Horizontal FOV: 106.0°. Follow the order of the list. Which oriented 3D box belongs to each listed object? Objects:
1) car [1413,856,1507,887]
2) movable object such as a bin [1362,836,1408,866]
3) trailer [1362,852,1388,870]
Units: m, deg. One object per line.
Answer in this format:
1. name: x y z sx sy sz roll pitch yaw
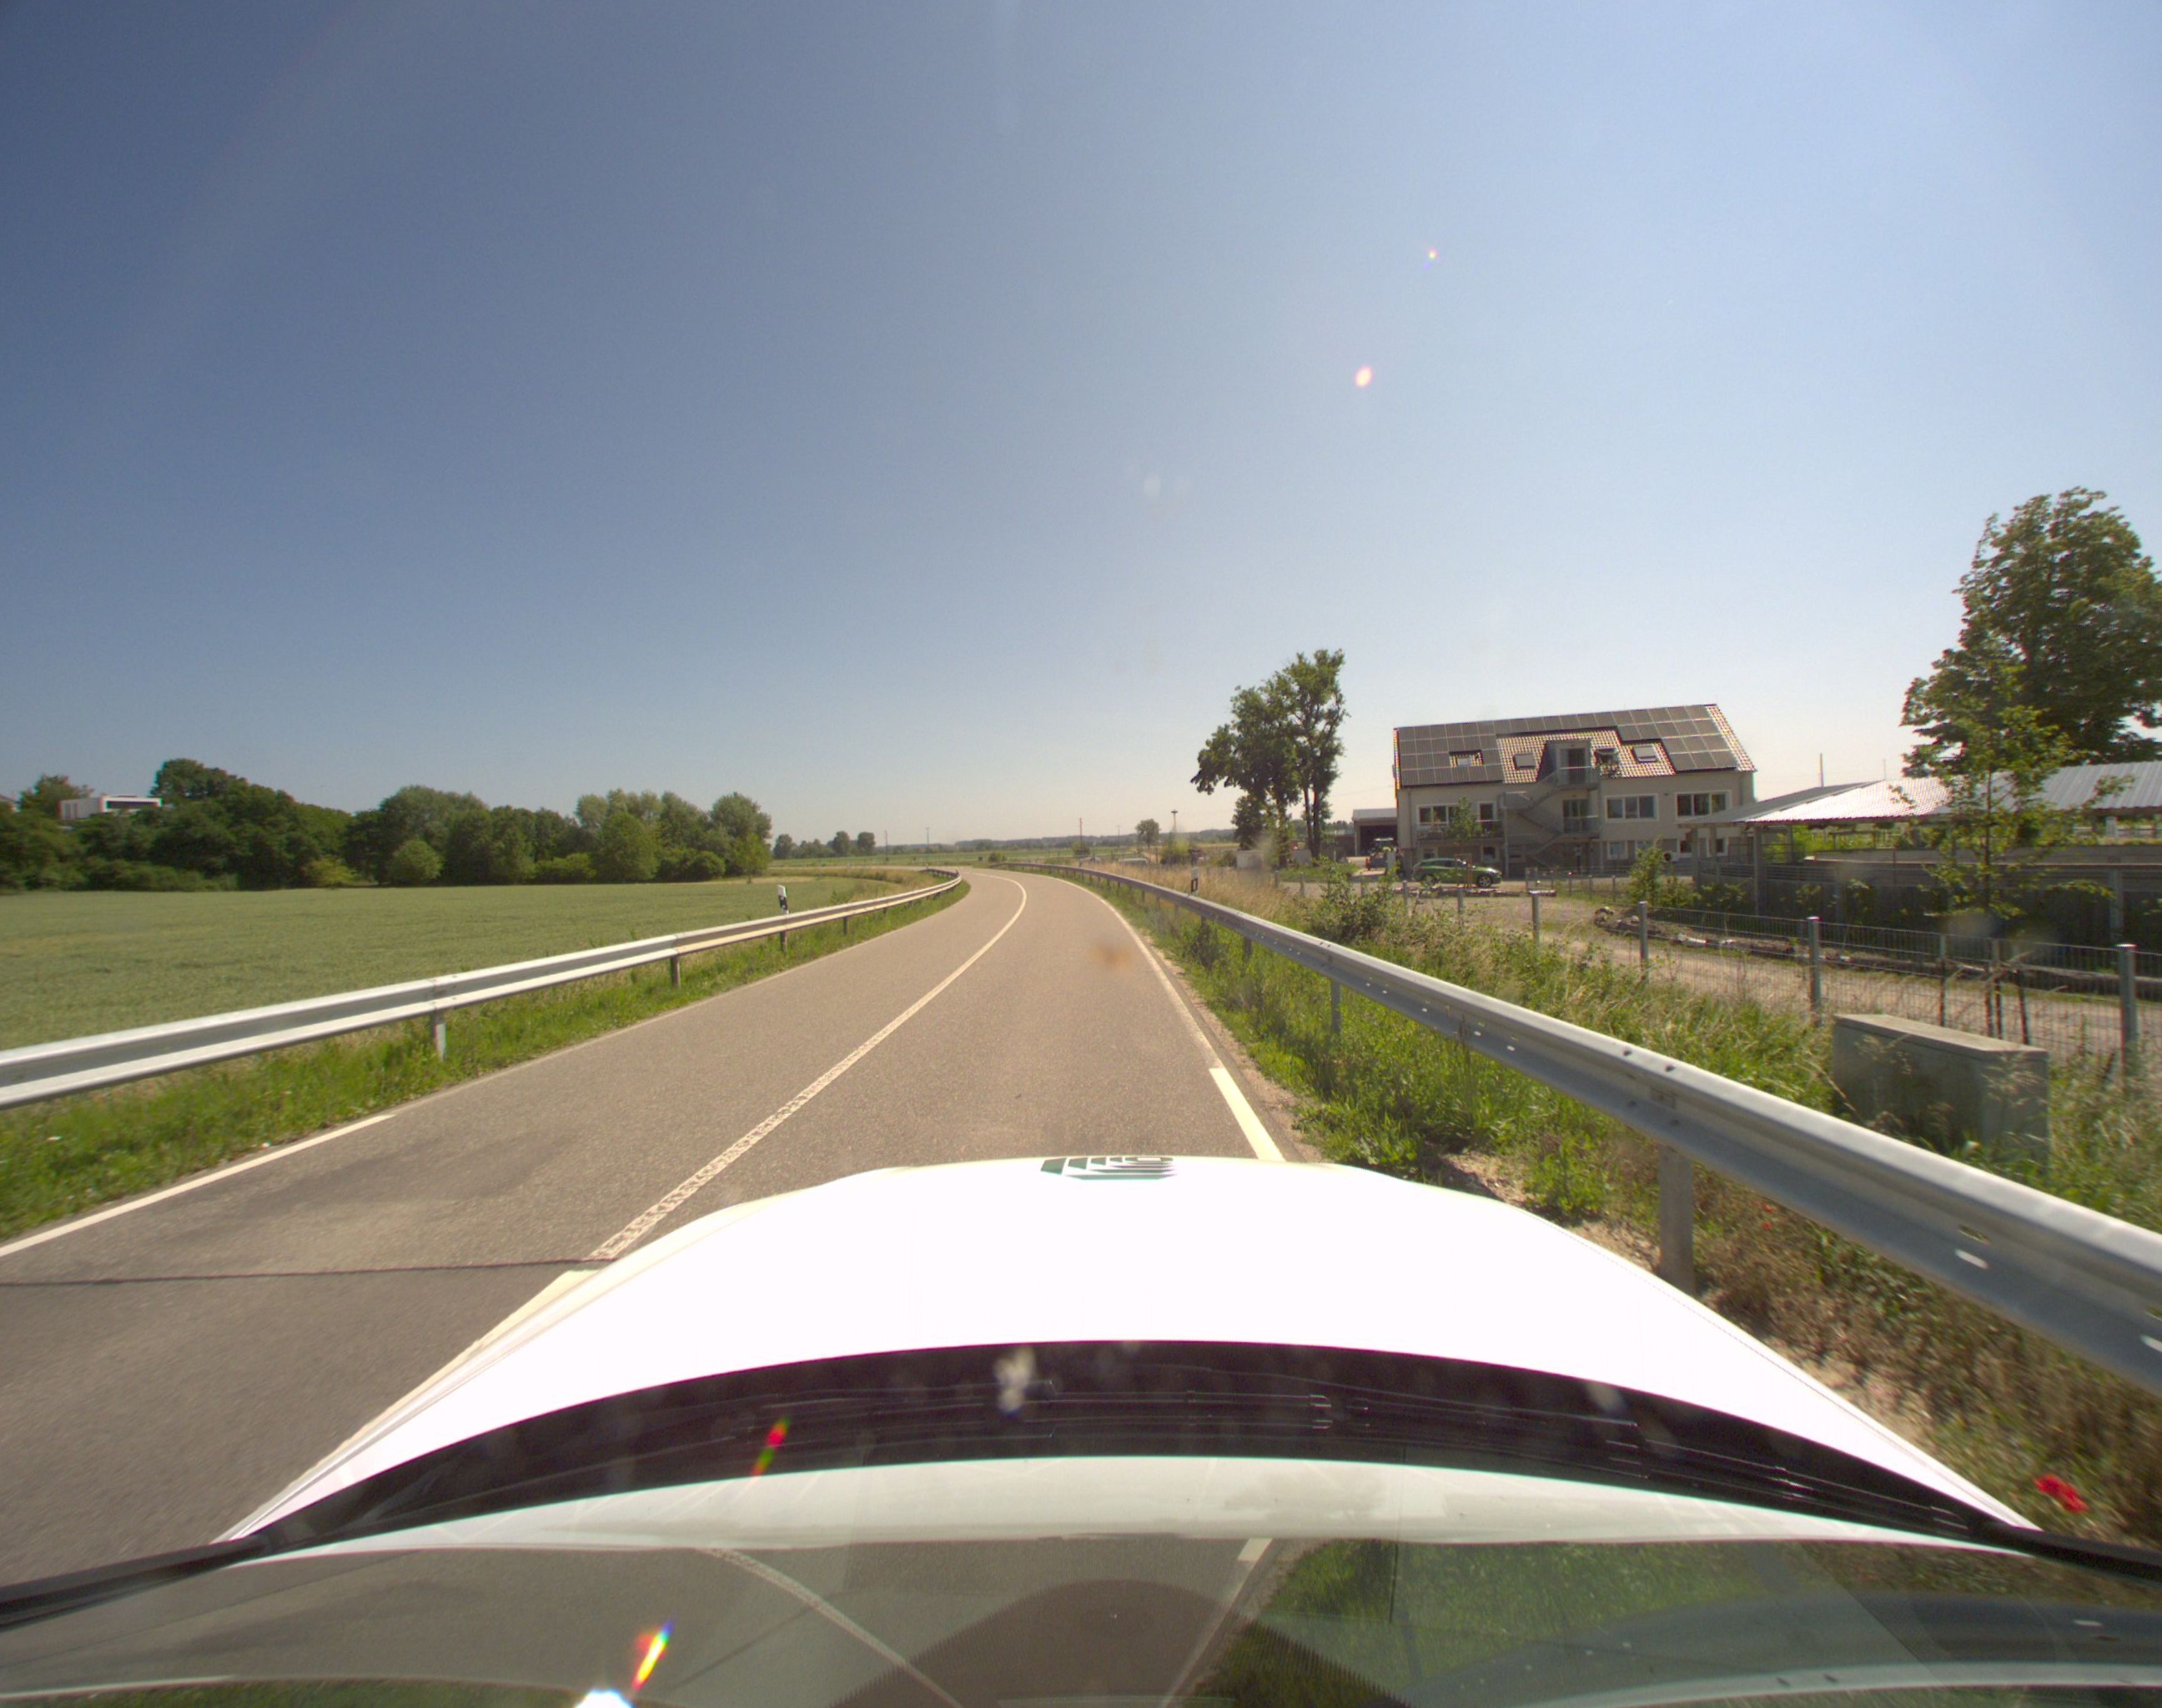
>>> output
1. car: 19.715 0.909 42.565 4.322 1.580 1.944 -1 -1 21
2. movable object such as a bin: 29.985 -0.343 80.694 2.985 2.769 6.521 -1 1 9
3. trailer: 25.263 0.617 69.964 1.694 1.496 3.159 -2 -2 26
